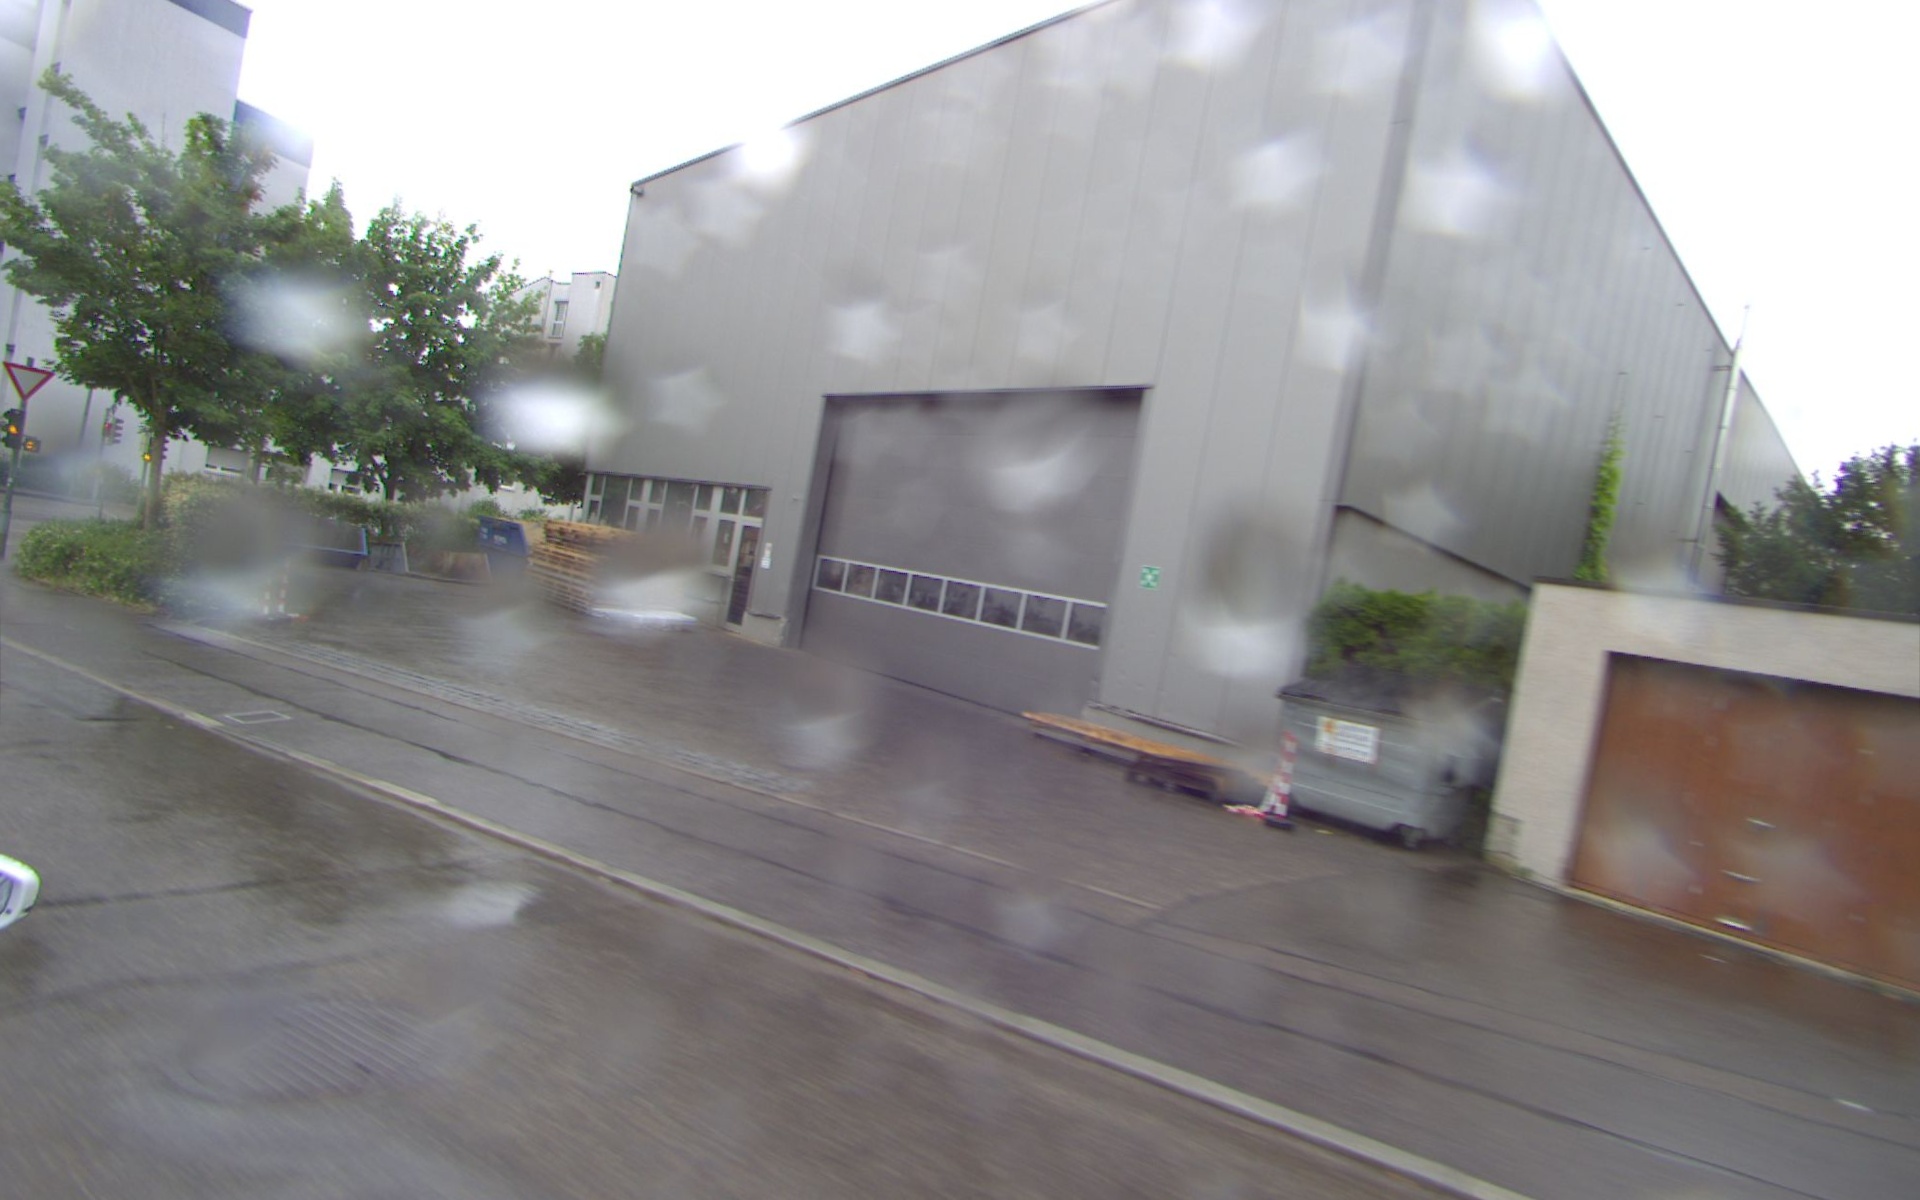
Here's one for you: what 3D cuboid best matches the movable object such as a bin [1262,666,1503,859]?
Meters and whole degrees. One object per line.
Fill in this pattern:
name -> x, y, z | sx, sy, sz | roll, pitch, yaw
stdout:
movable object such as a bin -> 4.287, 1.590, 10.269 | 1.258, 1.537, 1.757 | 7, 1, -43
